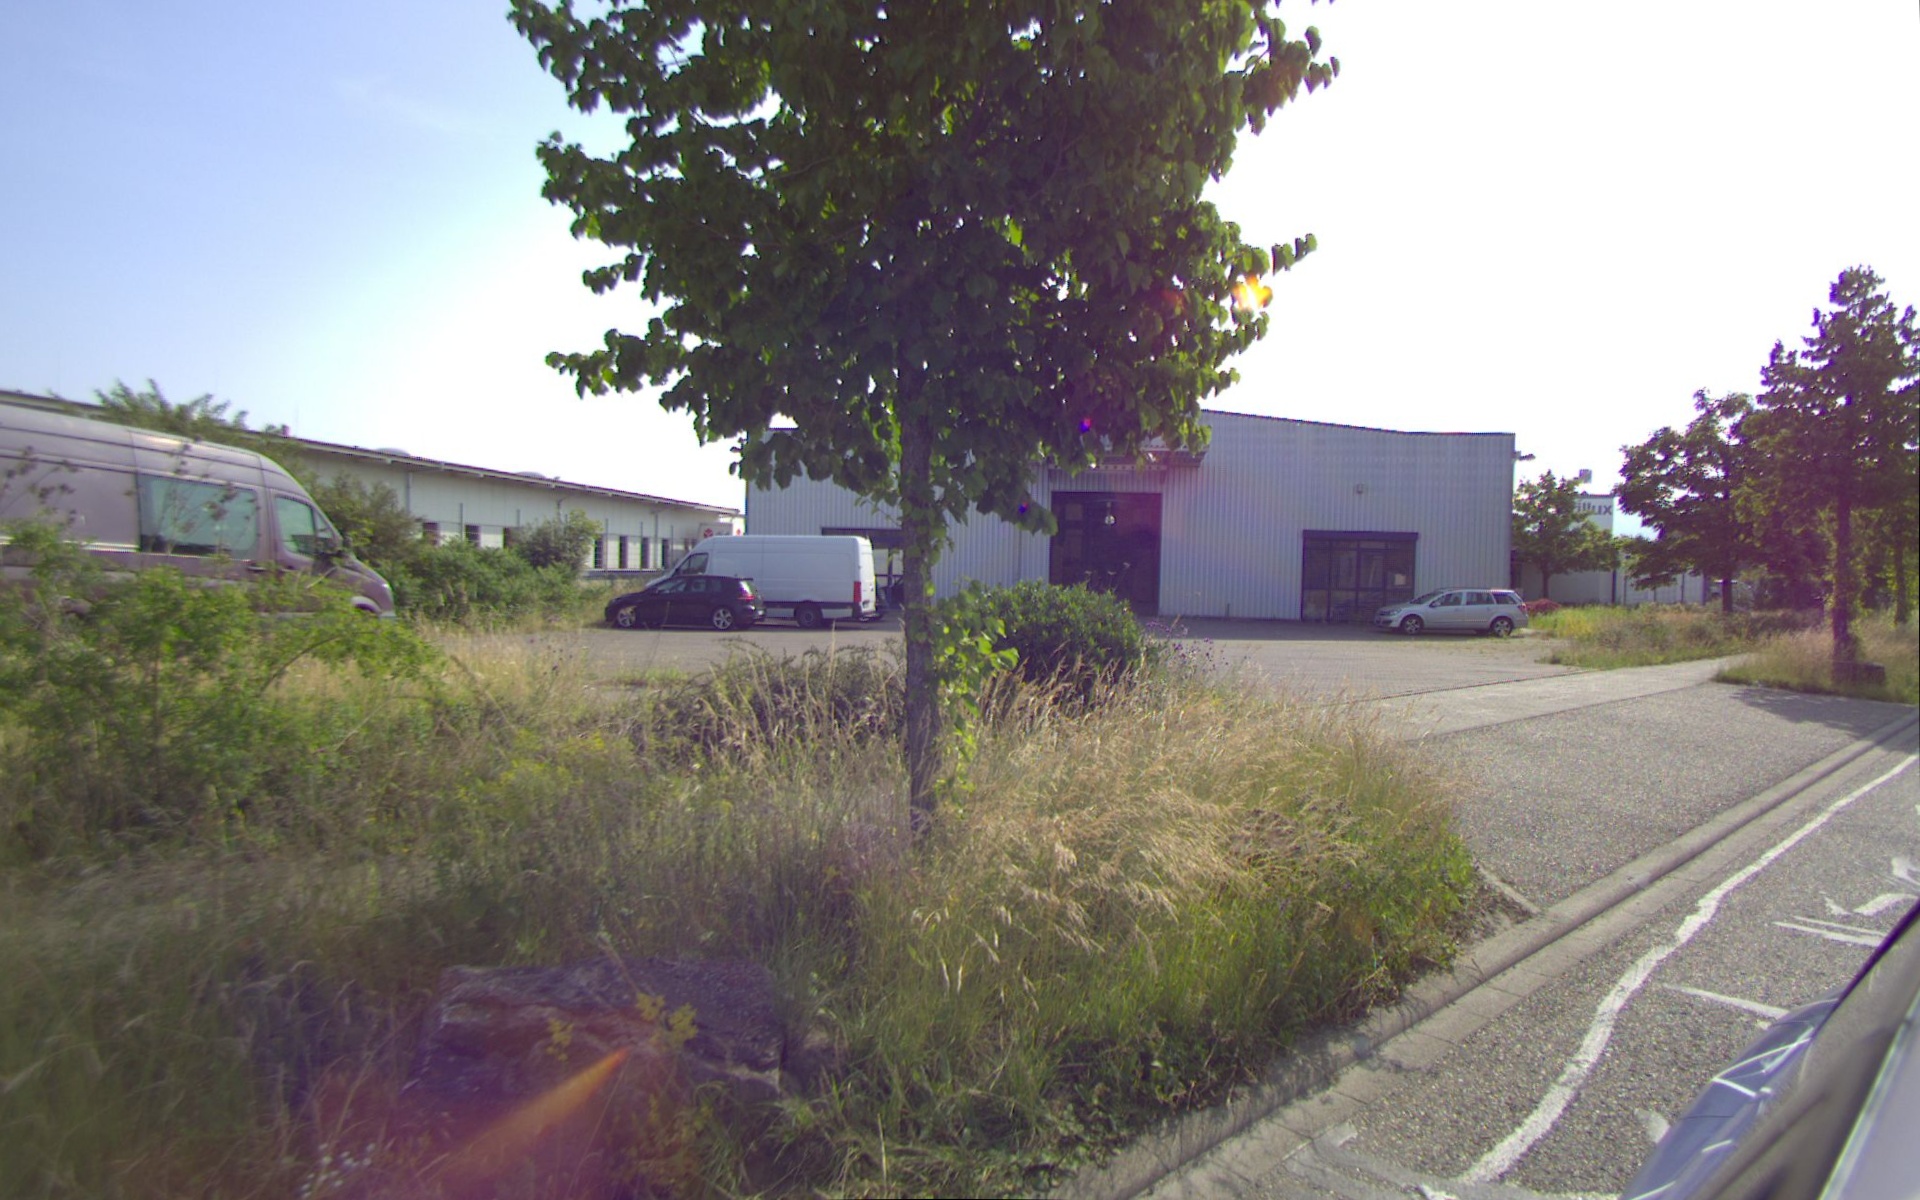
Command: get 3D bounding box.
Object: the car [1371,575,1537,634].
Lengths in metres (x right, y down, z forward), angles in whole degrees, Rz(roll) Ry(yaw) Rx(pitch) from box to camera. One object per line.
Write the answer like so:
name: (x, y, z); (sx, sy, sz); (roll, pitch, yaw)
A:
car: (15.499, 0.108, 31.982); (4.286, 1.581, 1.757); (2, 5, 8)

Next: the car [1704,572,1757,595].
car: (57.808, -1.254, 75.925); (3.679, 1.703, 1.603); (-1, 0, -25)

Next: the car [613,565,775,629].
car: (-6.903, -0.097, 26.422); (3.669, 1.490, 1.755); (2, 1, 9)

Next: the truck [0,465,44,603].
truck: (-24.354, -1.364, 21.313); (8.617, 2.875, 2.784); (0, 2, 10)

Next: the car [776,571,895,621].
car: (-3.872, -0.127, 31.834); (3.383, 1.490, 1.699); (-1, 0, 9)

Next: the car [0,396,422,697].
car: (-9.061, -0.463, 11.076); (2.532, 2.557, 6.033); (-1, 0, 8)

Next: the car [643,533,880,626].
car: (-5.692, -0.636, 29.318); (6.452, 2.556, 2.002); (1, 2, 9)
